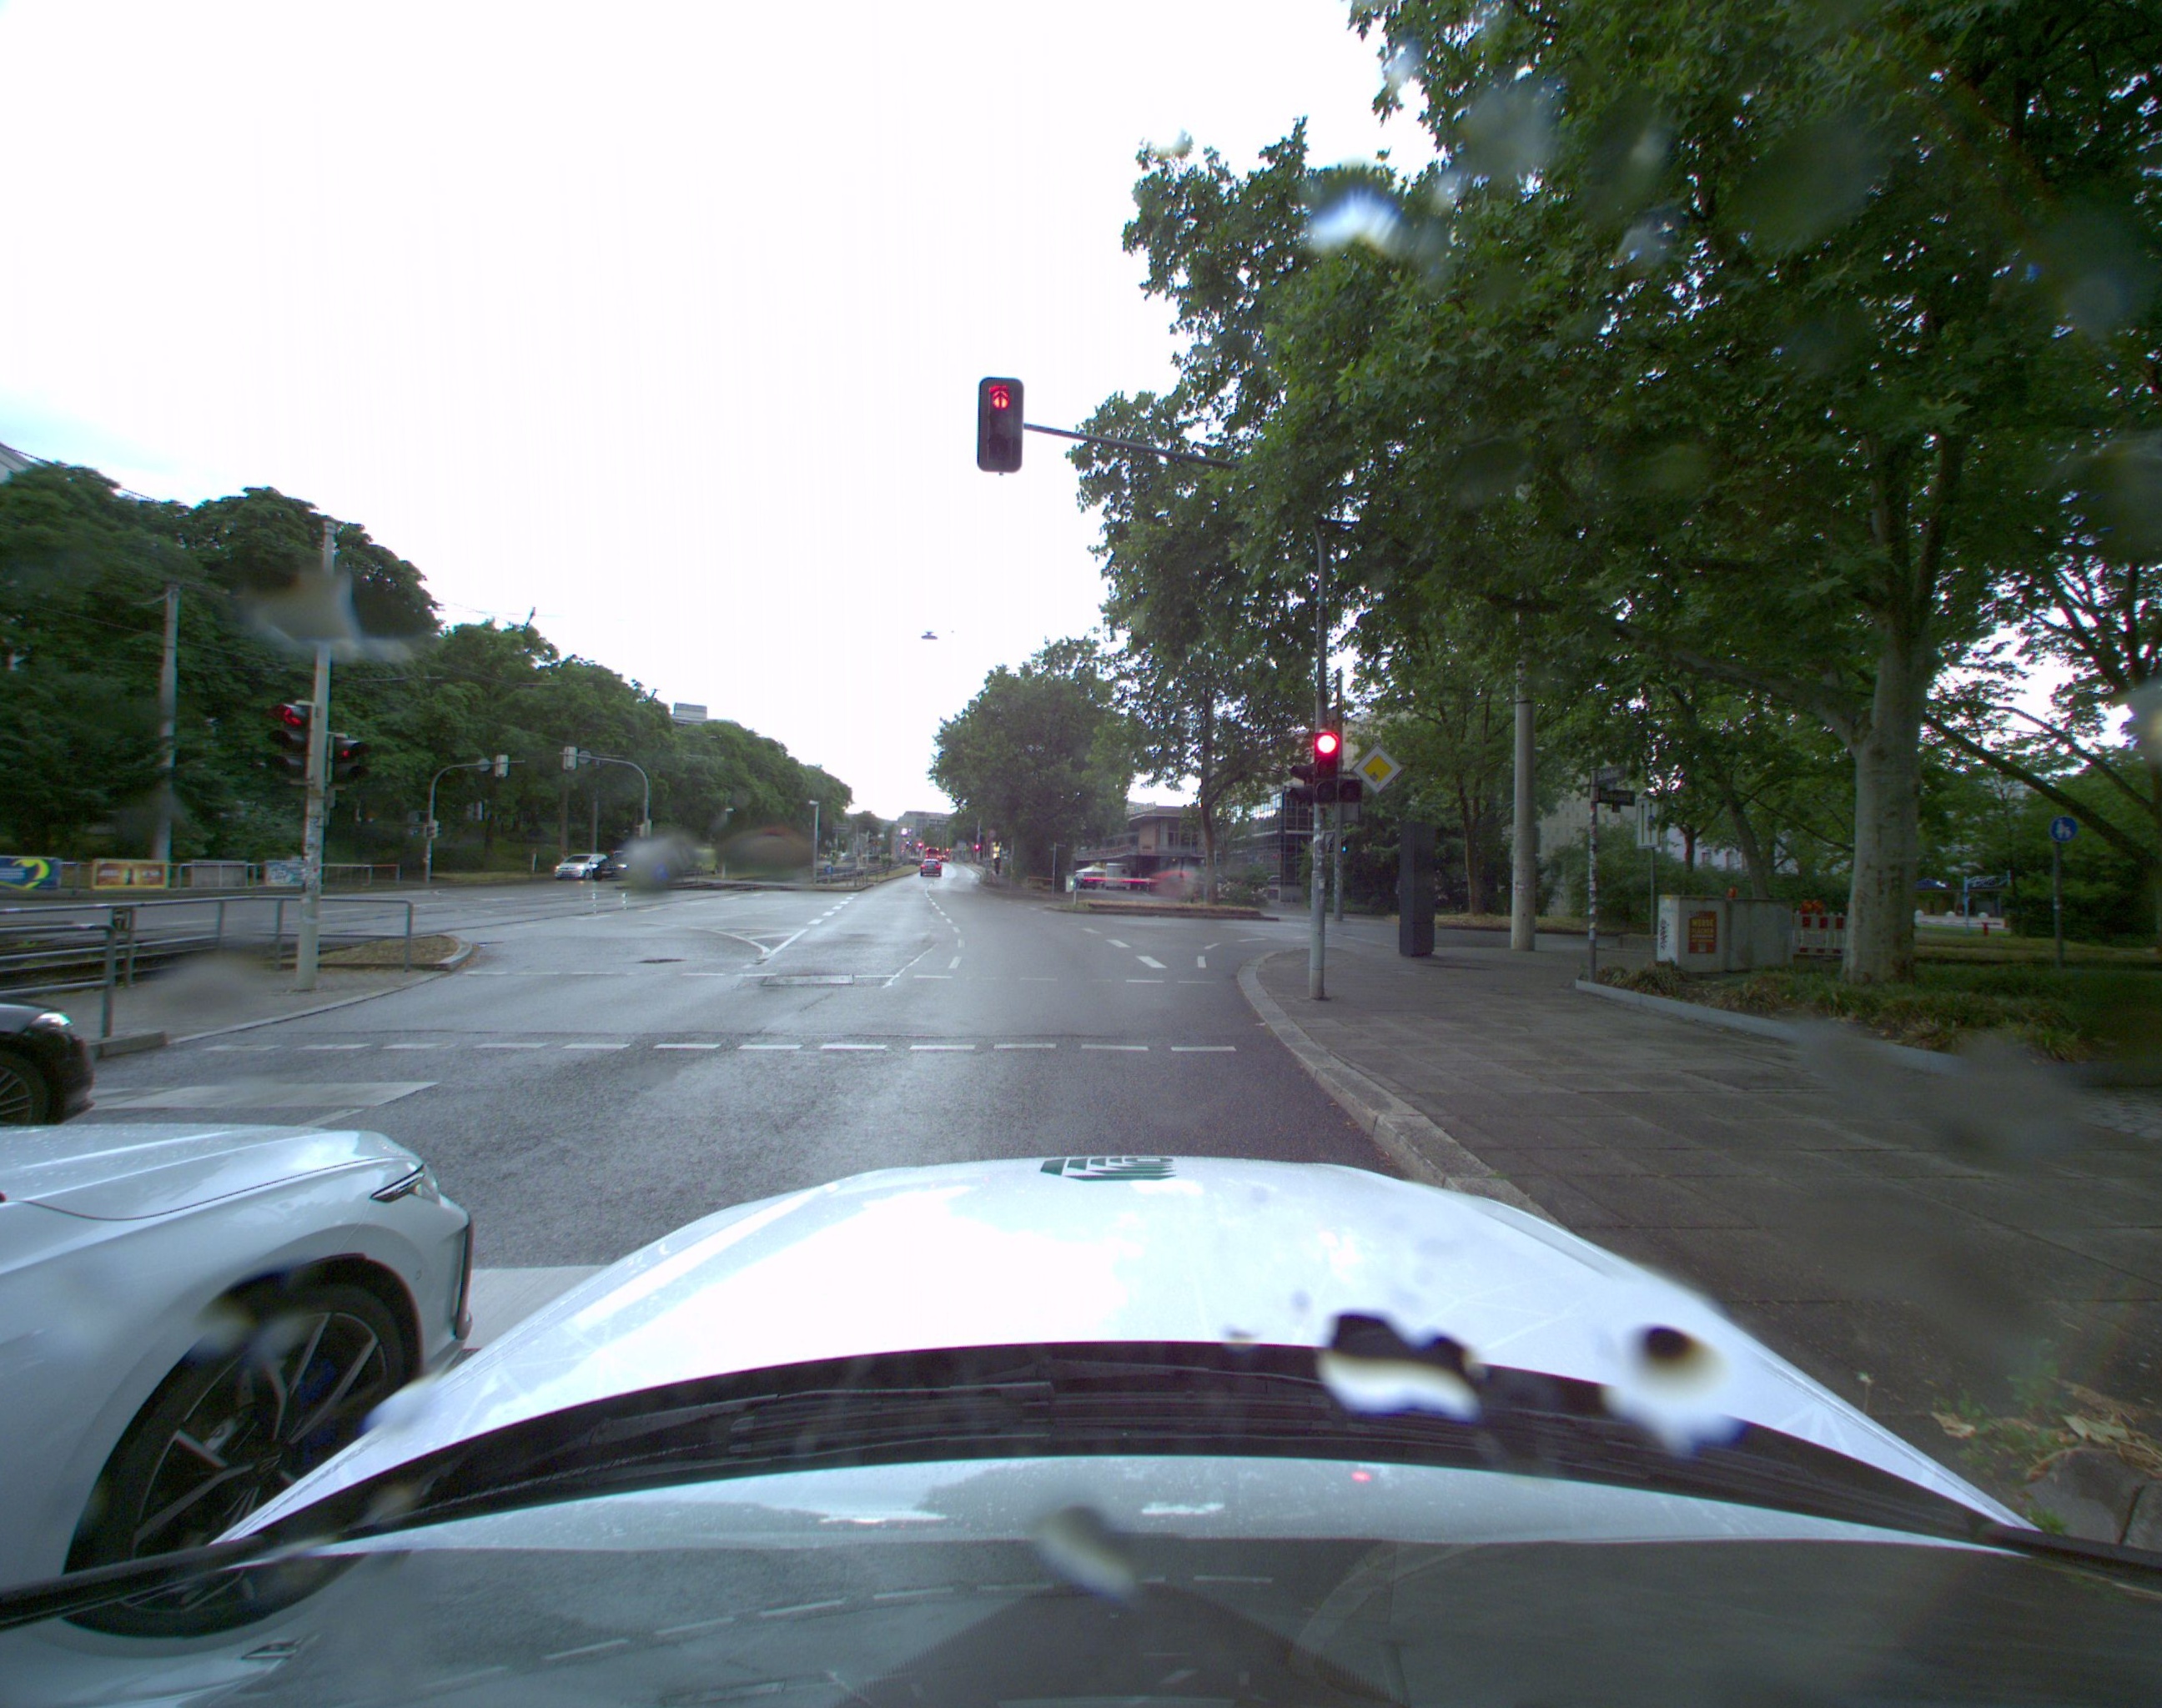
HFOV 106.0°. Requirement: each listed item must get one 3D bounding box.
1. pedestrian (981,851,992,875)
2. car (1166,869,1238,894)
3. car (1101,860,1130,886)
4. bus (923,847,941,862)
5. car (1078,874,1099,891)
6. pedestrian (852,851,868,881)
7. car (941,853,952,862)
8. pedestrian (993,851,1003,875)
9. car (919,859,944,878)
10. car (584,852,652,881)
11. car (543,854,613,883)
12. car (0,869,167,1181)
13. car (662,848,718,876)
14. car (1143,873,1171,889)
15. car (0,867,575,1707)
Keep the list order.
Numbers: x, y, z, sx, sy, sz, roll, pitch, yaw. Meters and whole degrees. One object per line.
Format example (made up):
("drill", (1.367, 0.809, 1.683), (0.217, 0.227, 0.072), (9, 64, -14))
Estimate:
("pedestrian", (-7.881, 0.766, 67.904), (0.813, 2.014, 1.075), (0, -1, -6))
("car", (9.268, 2.118, 62.122), (5.221, 1.731, 1.860), (2, -1, -23))
("car", (3.820, 2.082, 91.463), (2.725, 2.695, 6.916), (2, 0, -2))
("bus", (-32.457, 0.108, 177.477), (3.591, 3.171, 10.381), (0, -1, -11))
("car", (0.848, 3.062, 88.071), (2.010, 1.551, 4.355), (2, 0, 4))
("pedestrian", (-13.214, 0.715, 48.705), (0.870, 1.802, 0.864), (2, -1, -13))
("car", (-30.142, 0.808, 182.393), (2.364, 1.817, 5.164), (0, -1, -11))
("pedestrian", (-6.958, 0.763, 68.323), (0.873, 2.014, 1.075), (0, -1, -6))
("car", (-12.886, 1.236, 70.523), (1.993, 1.519, 4.336), (0, -1, -9))
("car", (-25.790, 0.680, 45.506), (1.917, 1.546, 3.674), (1, -1, -5))
("car", (-29.007, 0.830, 47.092), (1.917, 1.546, 3.674), (1, -1, -5))
("car", (-5.967, 0.792, 2.223), (1.789, 1.442, 4.477), (0, 0, 2))
("car", (-26.684, 0.552, 55.766), (1.917, 1.851, 4.558), (1, -1, -5))
("car", (8.288, 2.904, 89.098), (2.020, 1.551, 4.334), (2, 0, -10))
("car", (-2.518, 0.751, 0.270), (1.789, 1.442, 4.477), (0, 0, 2))
